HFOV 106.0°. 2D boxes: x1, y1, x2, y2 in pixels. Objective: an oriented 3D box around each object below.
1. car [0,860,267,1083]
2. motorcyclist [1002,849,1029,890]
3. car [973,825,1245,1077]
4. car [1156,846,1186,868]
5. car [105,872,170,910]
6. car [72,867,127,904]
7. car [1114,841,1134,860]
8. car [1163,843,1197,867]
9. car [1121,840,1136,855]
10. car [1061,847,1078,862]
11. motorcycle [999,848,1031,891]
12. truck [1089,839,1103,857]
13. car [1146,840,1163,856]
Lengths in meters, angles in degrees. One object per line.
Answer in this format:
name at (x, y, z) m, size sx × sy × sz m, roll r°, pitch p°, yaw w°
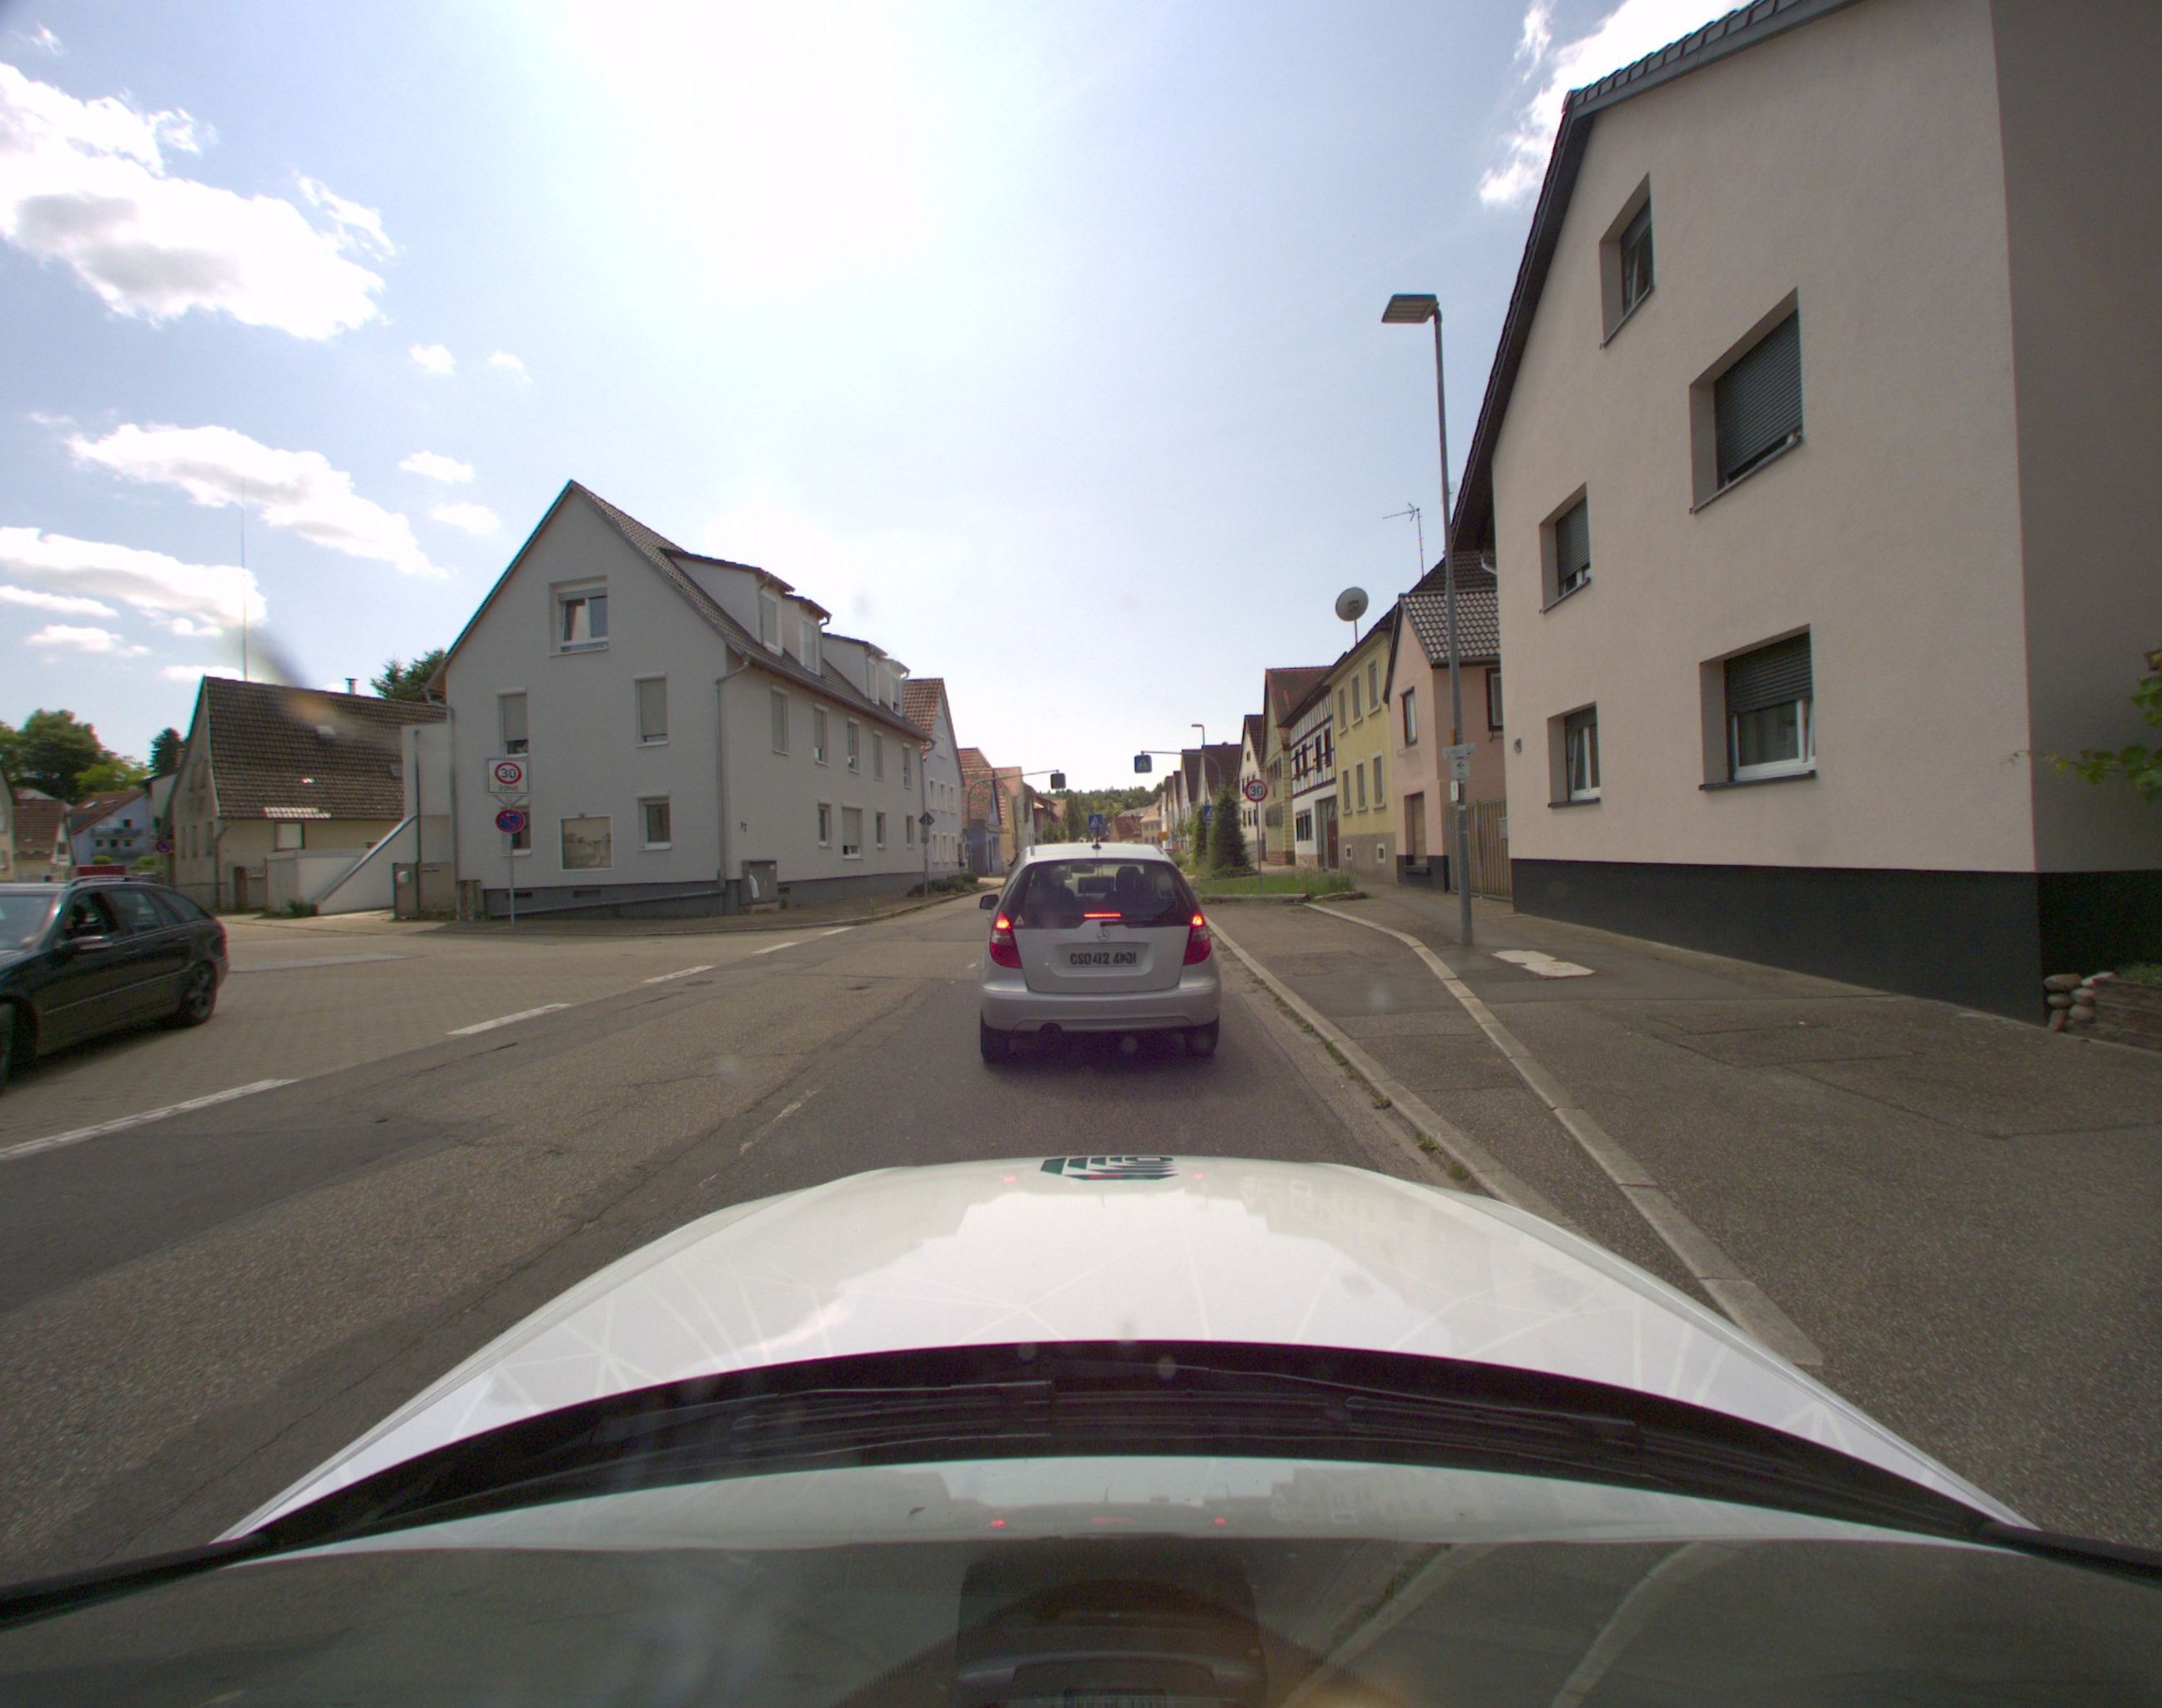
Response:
car at (-8.427, 0.812, 6.221) m, size 1.818 × 1.412 × 4.594 m, roll 0°, pitch -2°, yaw -28°
motorcyclist at (-2.523, 0.596, 31.518) m, size 0.892 × 1.554 × 0.807 m, roll -1°, pitch 0°, yaw 3°
car at (0.060, 0.639, 7.246) m, size 1.807 × 1.643 × 3.723 m, roll 0°, pitch 0°, yaw -5°
car at (6.890, 0.273, 62.441) m, size 1.985 × 1.508 × 4.002 m, roll -1°, pitch -2°, yaw 2°
car at (-40.858, 1.596, 35.252) m, size 3.431 × 1.530 × 1.500 m, roll -3°, pitch -2°, yaw 36°
car at (-46.344, 1.497, 38.434) m, size 3.431 × 1.635 × 1.406 m, roll -3°, pitch -2°, yaw 36°
car at (4.658, -0.345, 88.200) m, size 1.986 × 1.816 × 4.001 m, roll -1°, pitch -2°, yaw 1°
car at (6.689, 0.084, 55.546) m, size 1.985 × 1.508 × 4.002 m, roll -1°, pitch -2°, yaw 2°
car at (6.846, -0.871, 118.030) m, size 1.986 × 2.014 × 4.002 m, roll -1°, pitch -2°, yaw 2°
car at (-1.322, 0.097, 92.070) m, size 1.660 × 1.596 × 4.002 m, roll -1°, pitch -2°, yaw 3°
motorcycle at (-2.513, 0.580, 31.264) m, size 0.876 × 1.561 × 1.969 m, roll -1°, pitch 0°, yaw 4°
truck at (2.439, -0.954, 130.382) m, size 1.986 × 2.537 × 6.741 m, roll -1°, pitch -2°, yaw 2°
car at (9.535, -0.752, 105.963) m, size 1.986 × 1.816 × 4.001 m, roll -1°, pitch -2°, yaw 1°
